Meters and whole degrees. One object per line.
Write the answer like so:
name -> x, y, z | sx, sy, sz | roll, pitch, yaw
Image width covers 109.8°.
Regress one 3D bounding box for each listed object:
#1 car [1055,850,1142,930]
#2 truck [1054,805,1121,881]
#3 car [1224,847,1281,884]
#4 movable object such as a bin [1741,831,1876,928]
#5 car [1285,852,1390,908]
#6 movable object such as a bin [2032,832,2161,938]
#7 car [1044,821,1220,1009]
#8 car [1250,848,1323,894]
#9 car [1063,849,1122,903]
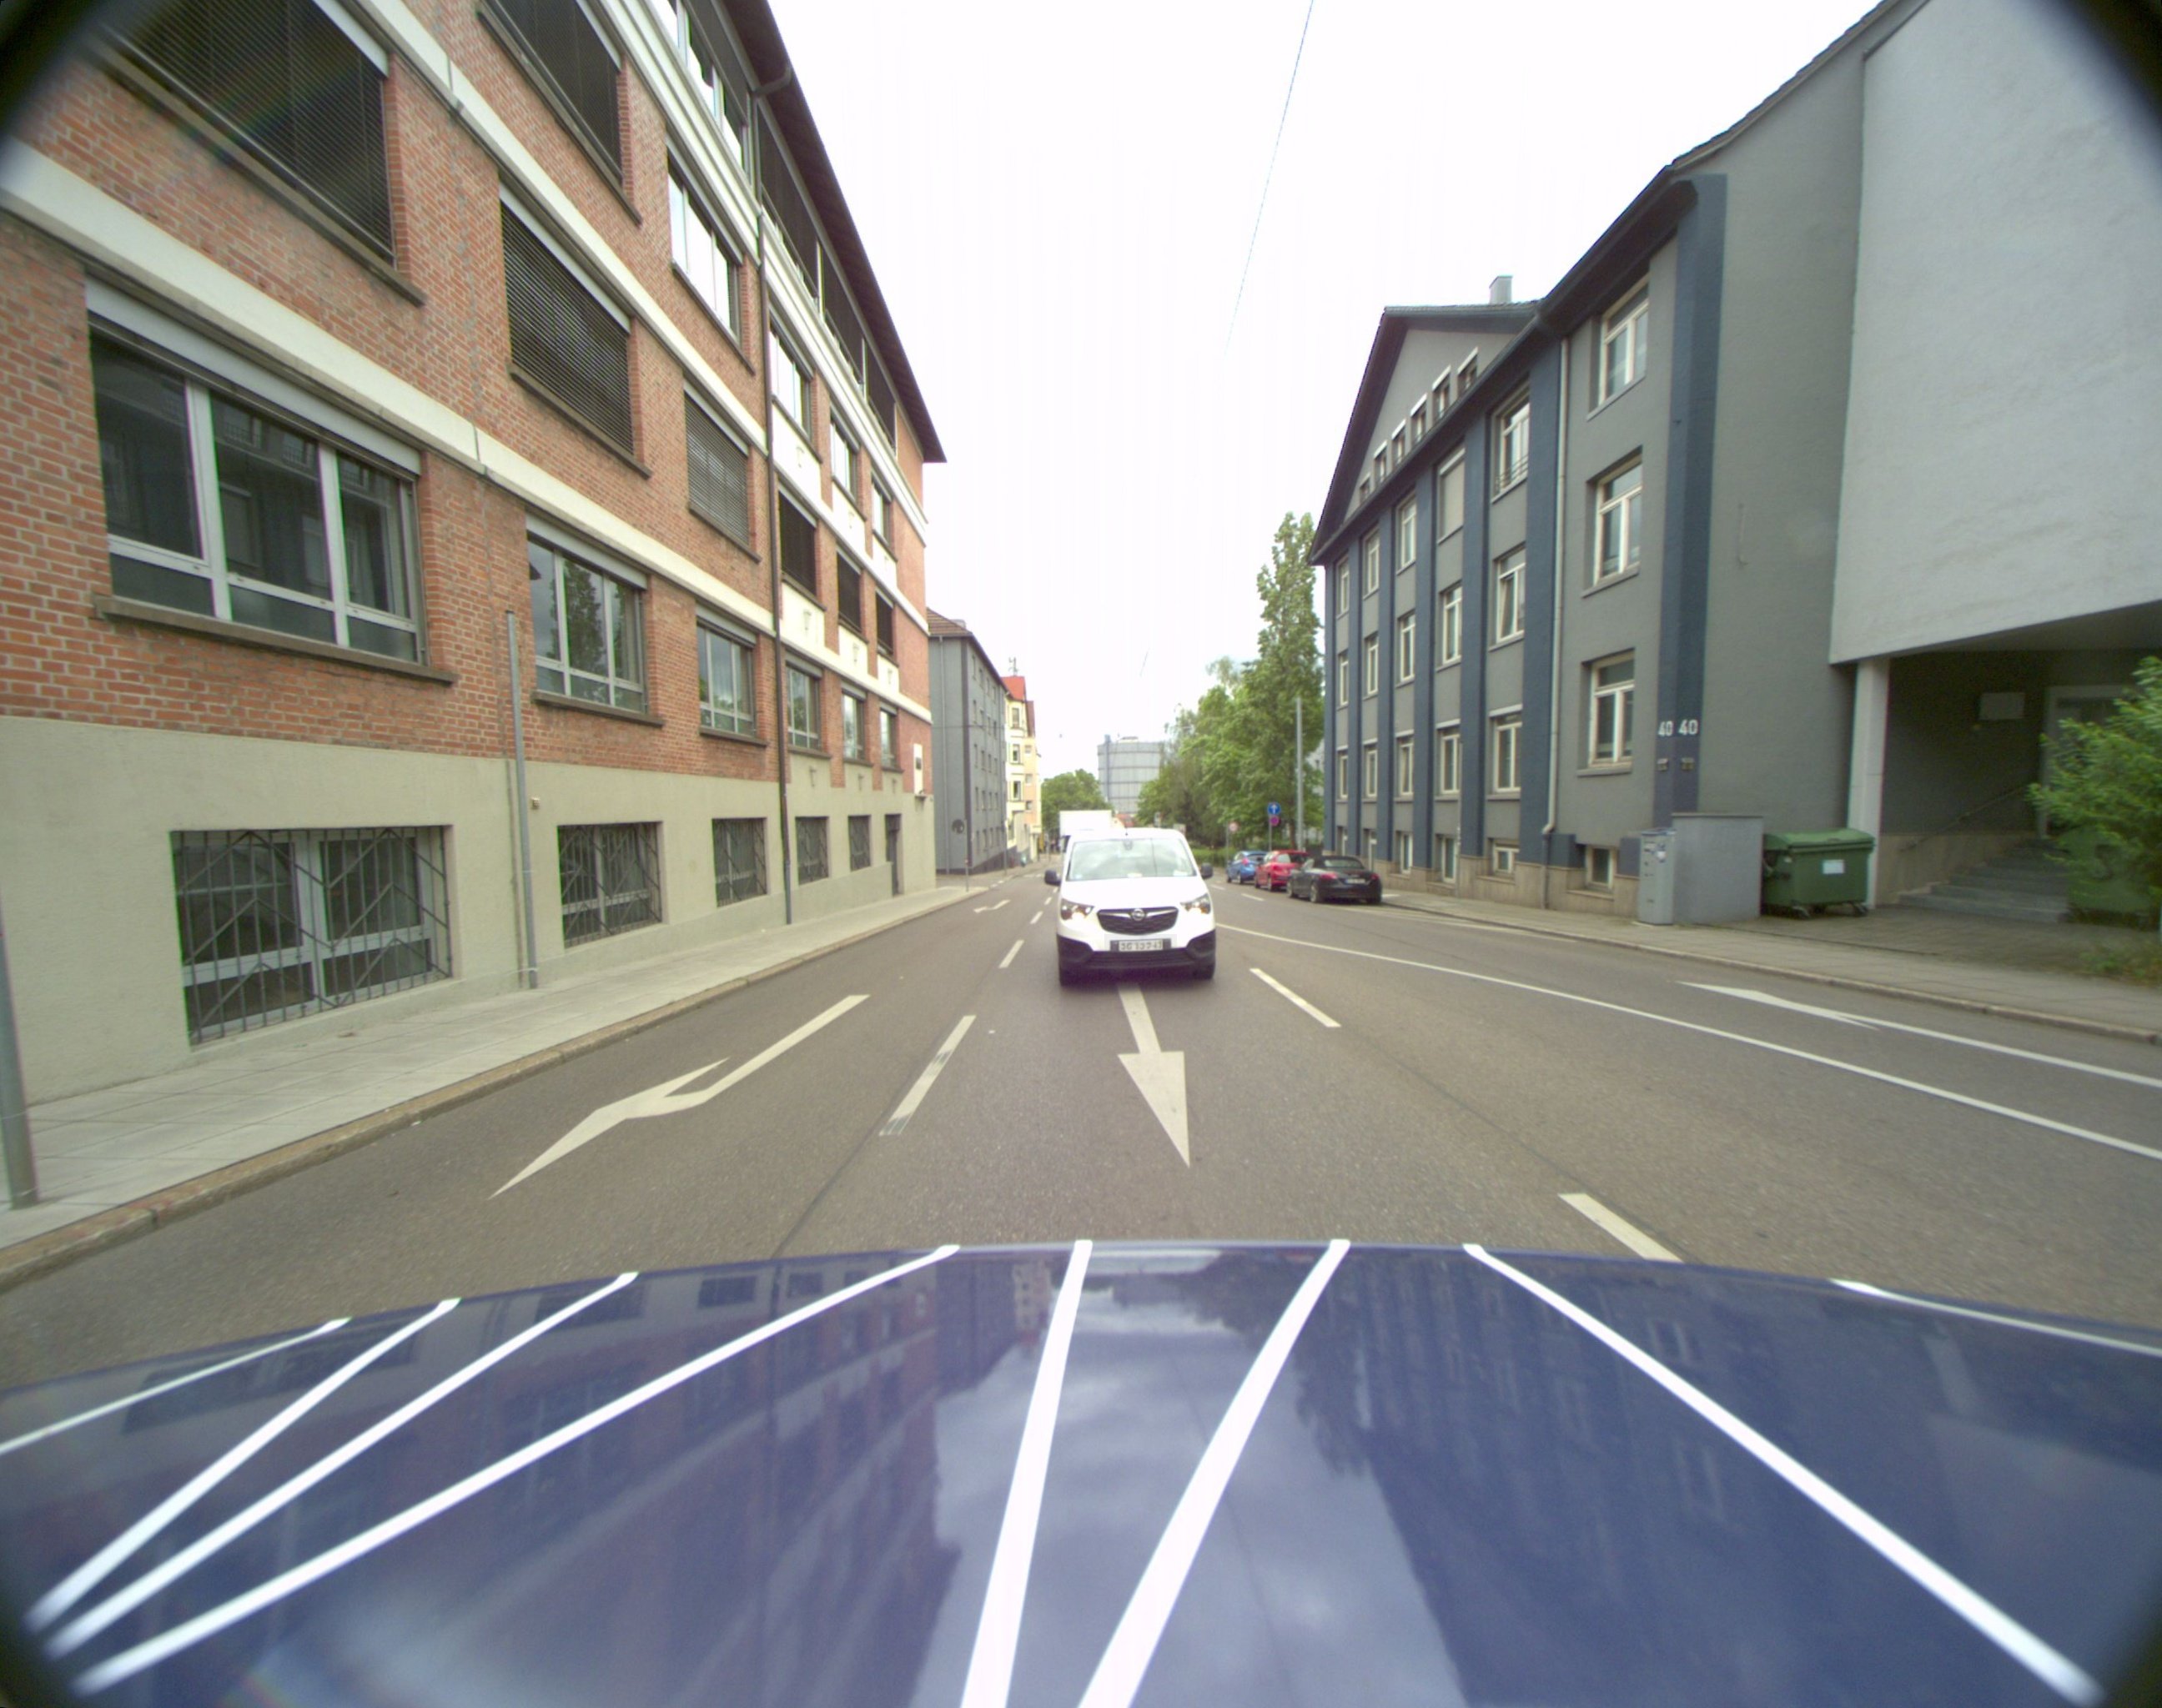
car -> 0.395, 0.739, 17.803 | 1.739, 1.520, 3.999 | -2, 1, 1
truck -> 0.346, -0.592, 39.614 | 2.969, 3.409, 8.878 | -2, 1, 1
car -> 7.456, 0.464, 33.305 | 1.644, 1.441, 3.728 | -2, 1, 1
movable object such as a bin -> 12.058, 0.391, 12.639 | 1.229, 1.498, 1.040 | -2, 2, 1
car -> 7.257, 0.675, 21.890 | 1.801, 1.385, 3.728 | -1, 1, 1
movable object such as a bin -> 14.858, 0.412, 10.916 | 1.039, 1.408, 1.078 | -2, 2, 0
car -> 0.555, 0.597, 9.853 | 1.739, 1.876, 3.999 | -2, 1, 1
car -> 7.406, 0.577, 27.745 | 1.644, 1.441, 3.728 | -2, 1, 1
car -> 0.379, 0.644, 25.049 | 1.739, 1.520, 3.999 | -2, 1, 1
